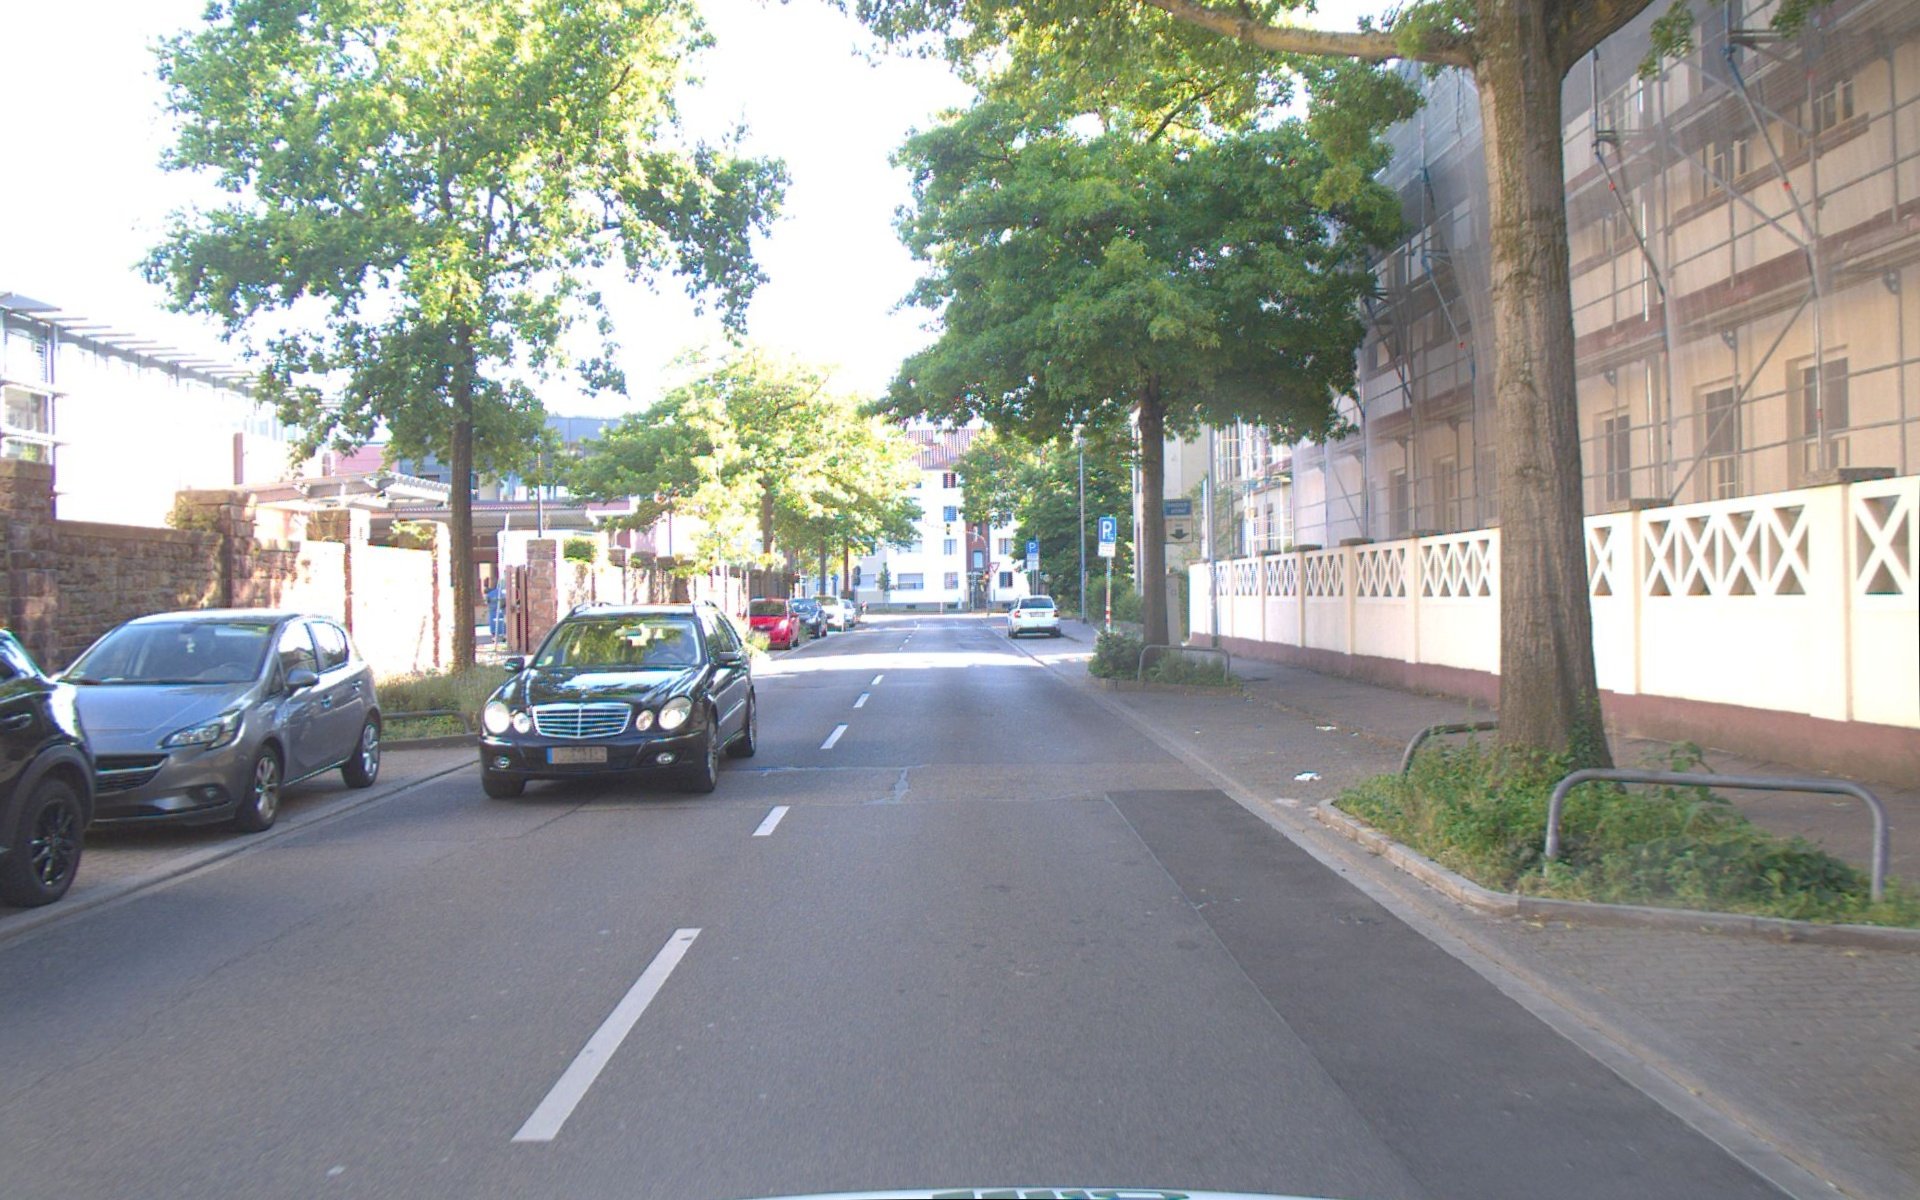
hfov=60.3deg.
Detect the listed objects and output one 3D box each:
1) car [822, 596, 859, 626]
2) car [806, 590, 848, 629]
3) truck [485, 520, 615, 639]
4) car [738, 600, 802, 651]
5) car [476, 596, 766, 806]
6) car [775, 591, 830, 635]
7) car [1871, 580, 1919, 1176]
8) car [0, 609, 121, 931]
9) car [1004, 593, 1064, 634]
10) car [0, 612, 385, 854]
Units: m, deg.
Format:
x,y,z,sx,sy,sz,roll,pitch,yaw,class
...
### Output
x,y,z,sx,sy,sz,roll,pitch,yaw,class
-6.271,0.563,87.410,1.691,1.501,4.477,1,0,-1,car
-6.039,0.415,75.328,1.685,1.713,4.349,-1,0,-2,car
-13.923,-0.672,56.745,2.677,3.776,7.426,1,0,-1,truck
-5.824,0.750,51.025,1.576,1.484,3.708,1,0,0,car
-2.715,0.737,14.132,1.785,1.461,3.967,-1,1,-3,car
-6.086,0.466,64.363,1.701,1.620,4.107,-1,0,1,car
3.221,0.708,2.385,1.688,1.536,3.993,-3,1,2,car
-5.381,0.835,7.130,1.542,1.541,4.043,-1,0,-2,car
2.579,0.465,58.759,1.795,1.346,4.495,-2,0,-1,car
-5.599,0.846,12.175,1.654,1.446,3.835,1,0,-5,car
